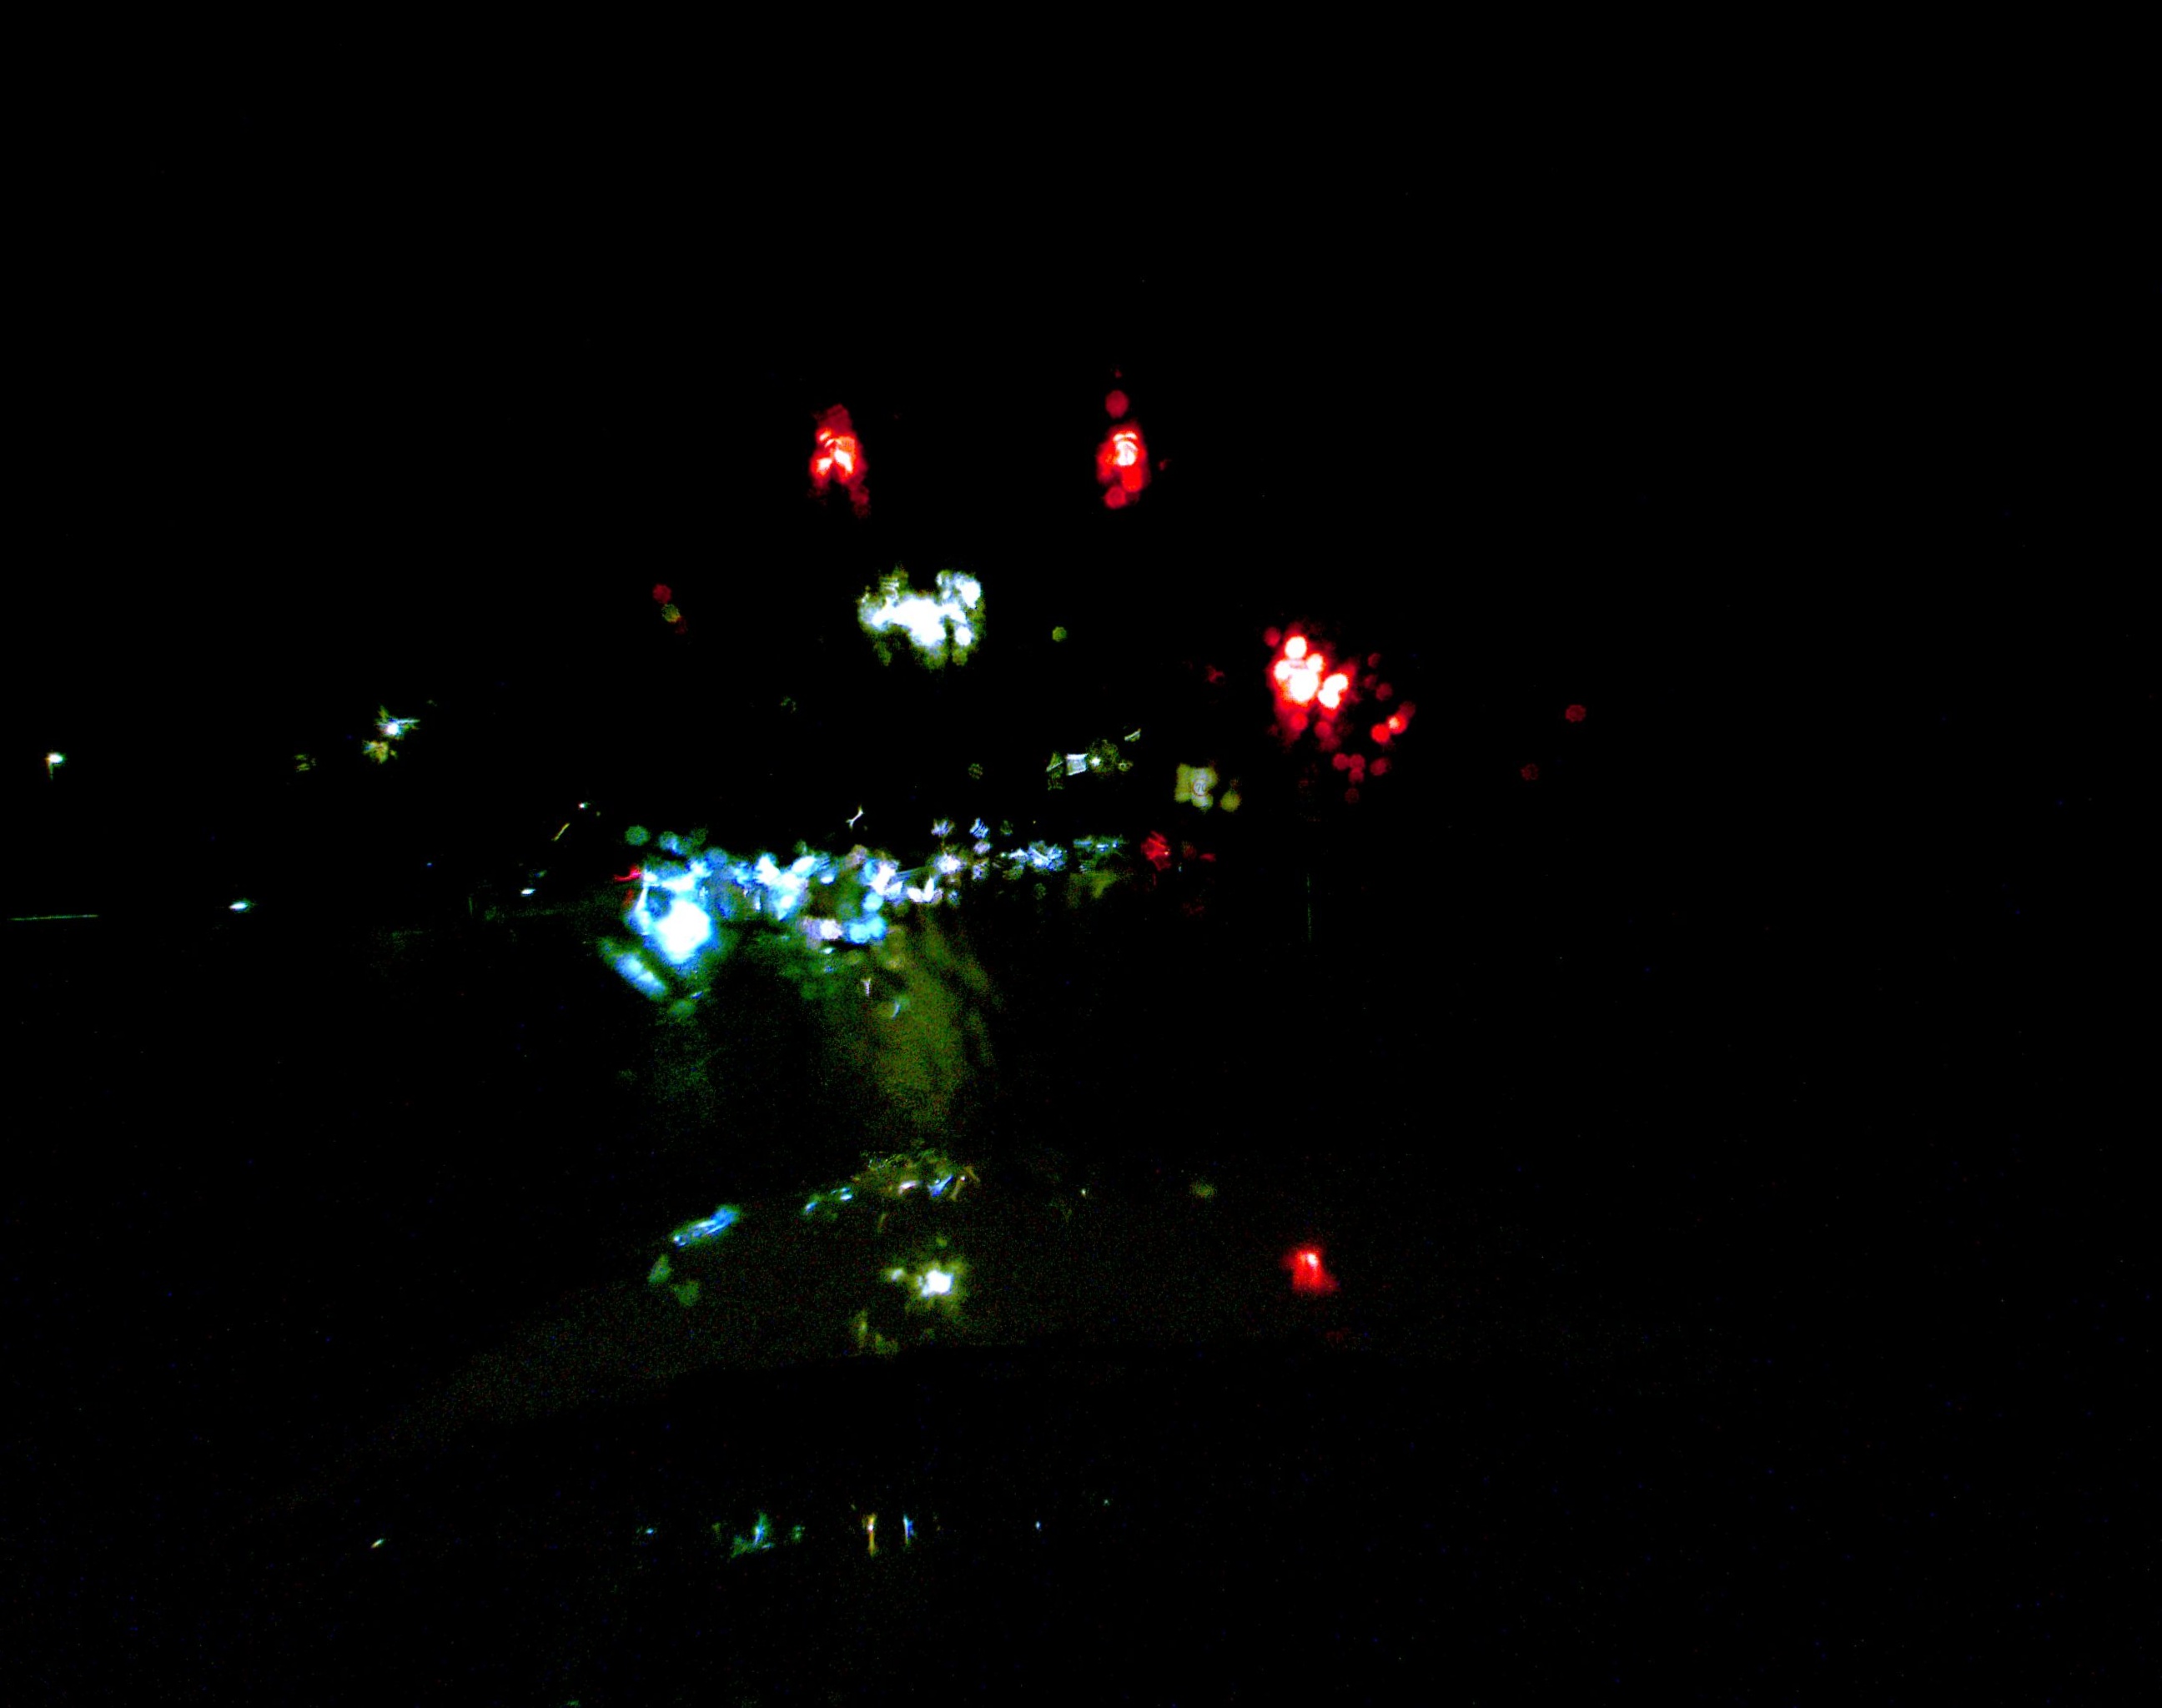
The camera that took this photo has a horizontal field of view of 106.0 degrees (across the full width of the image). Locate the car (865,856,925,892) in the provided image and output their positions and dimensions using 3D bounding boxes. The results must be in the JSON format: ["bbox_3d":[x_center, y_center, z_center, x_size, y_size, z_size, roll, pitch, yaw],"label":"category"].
[{"bbox_3d":[-8.529,0.910,37.654,1.577,1.526,3.657,-1,-1,6],"label":"car"}]

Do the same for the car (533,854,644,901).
[{"bbox_3d":[-21.478,1.000,35.549,4.017,1.831,1.703,-2,0,-35],"label":"car"}]

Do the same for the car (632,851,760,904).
[{"bbox_3d":[-12.769,0.727,27.420,1.785,1.571,4.916,-1,0,2],"label":"car"}]

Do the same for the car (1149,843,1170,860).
[{"bbox_3d":[8.354,-0.238,87.039,1.986,1.611,4.104,-1,-1,2],"label":"car"}]

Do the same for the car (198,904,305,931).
[{"bbox_3d":[-52.111,3.955,51.260,2.159,1.449,4.151,-1,-1,13],"label":"car"}]

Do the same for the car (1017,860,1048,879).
[{"bbox_3d":[-4.002,1.294,68.084,1.699,1.534,4.609,-1,-1,7],"label":"car"}]

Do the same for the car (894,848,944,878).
[{"bbox_3d":[-10.029,0.559,50.686,1.984,1.720,4.005,-1,-1,5],"label":"car"}]

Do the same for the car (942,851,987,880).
[{"bbox_3d":[-7.161,0.686,50.466,1.708,1.703,4.151,-1,-1,7],"label":"car"}]

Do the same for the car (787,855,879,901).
[{"bbox_3d":[-9.195,0.842,30.611,1.691,1.571,4.716,-1,0,4],"label":"car"}]

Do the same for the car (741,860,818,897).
[{"bbox_3d":[-12.486,1.000,33.951,1.661,1.454,3.730,-1,-1,3],"label":"car"}]
